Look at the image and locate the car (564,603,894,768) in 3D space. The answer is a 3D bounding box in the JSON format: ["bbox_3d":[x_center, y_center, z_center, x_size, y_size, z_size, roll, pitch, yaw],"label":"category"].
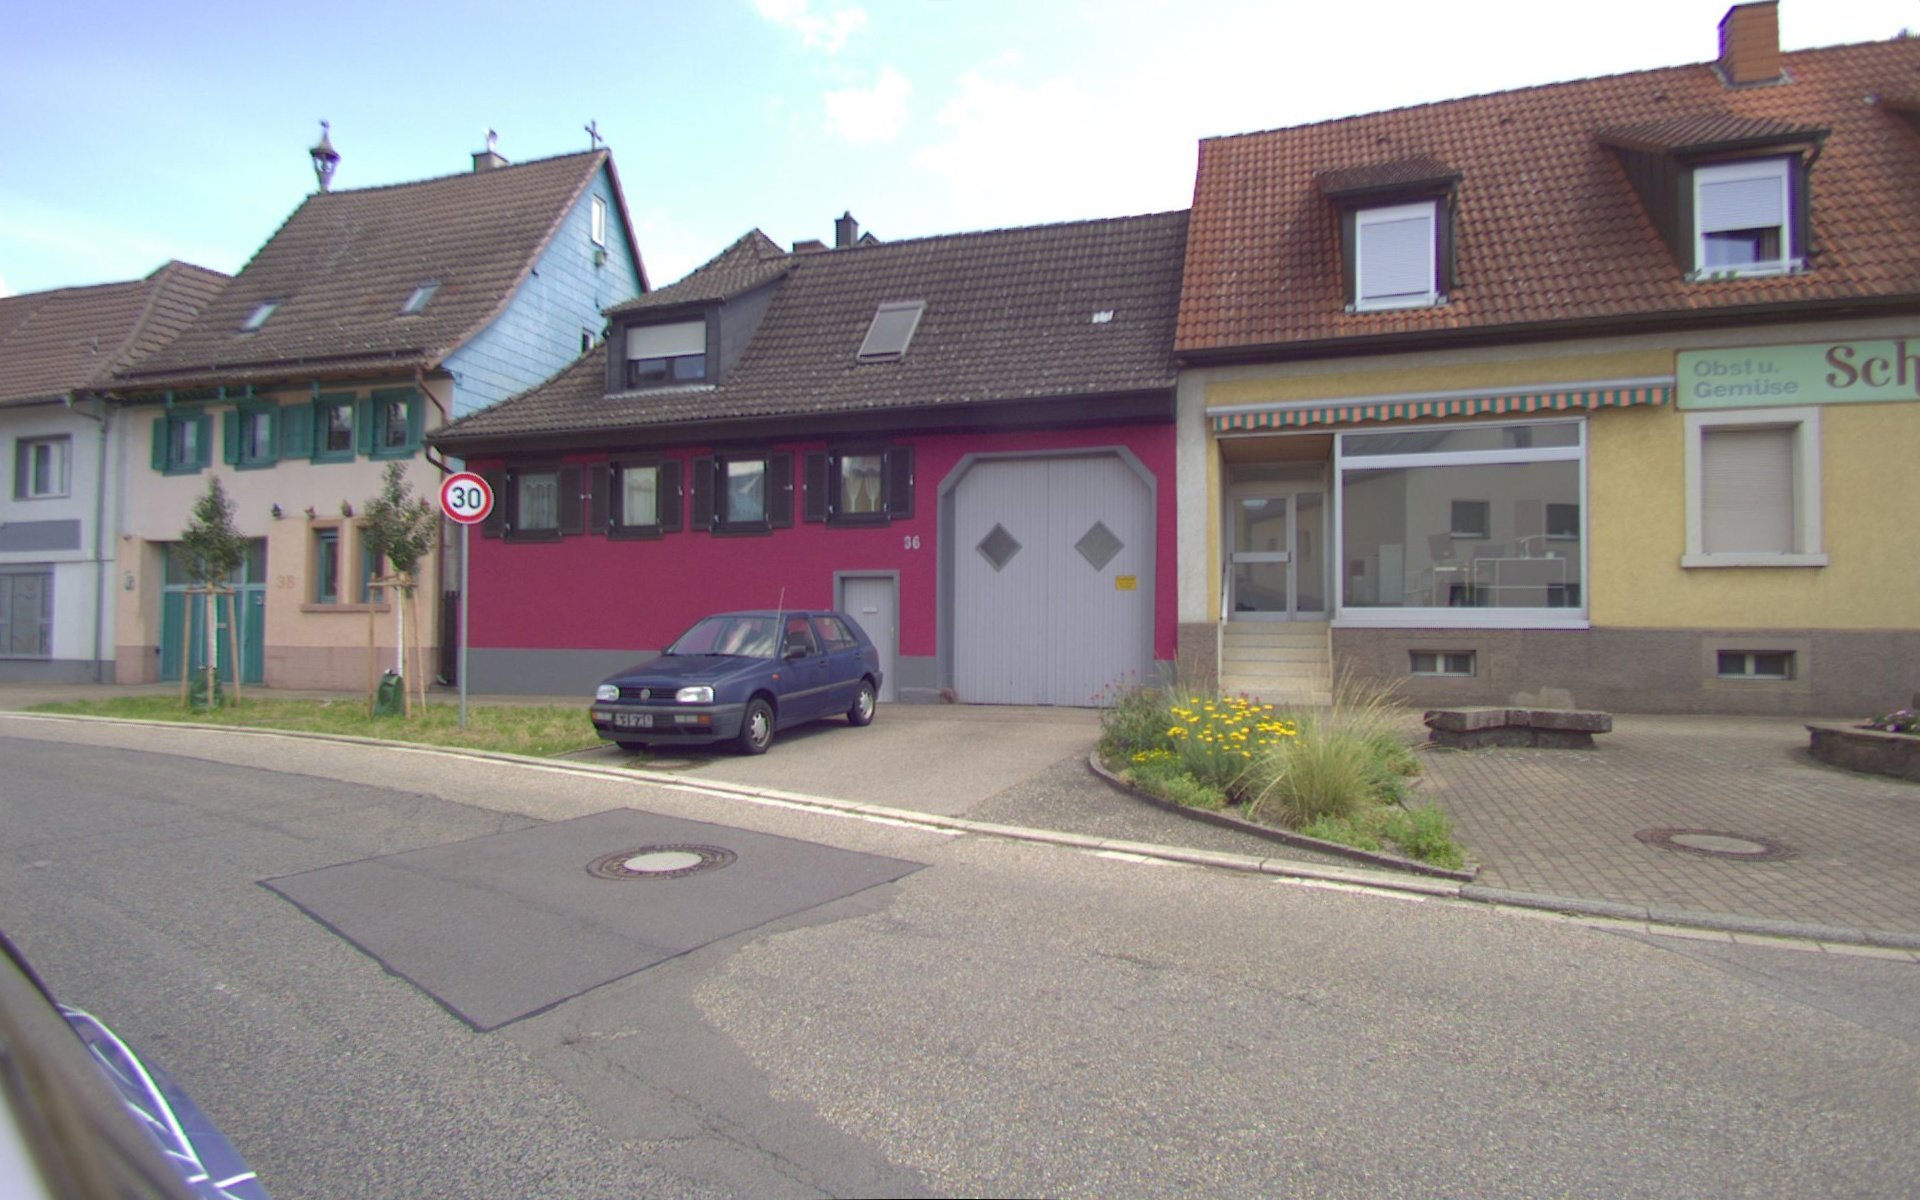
[{"bbox_3d":[-2.306,0.780,11.196,1.708,1.475,3.953,0,-1,20],"label":"car"}]
